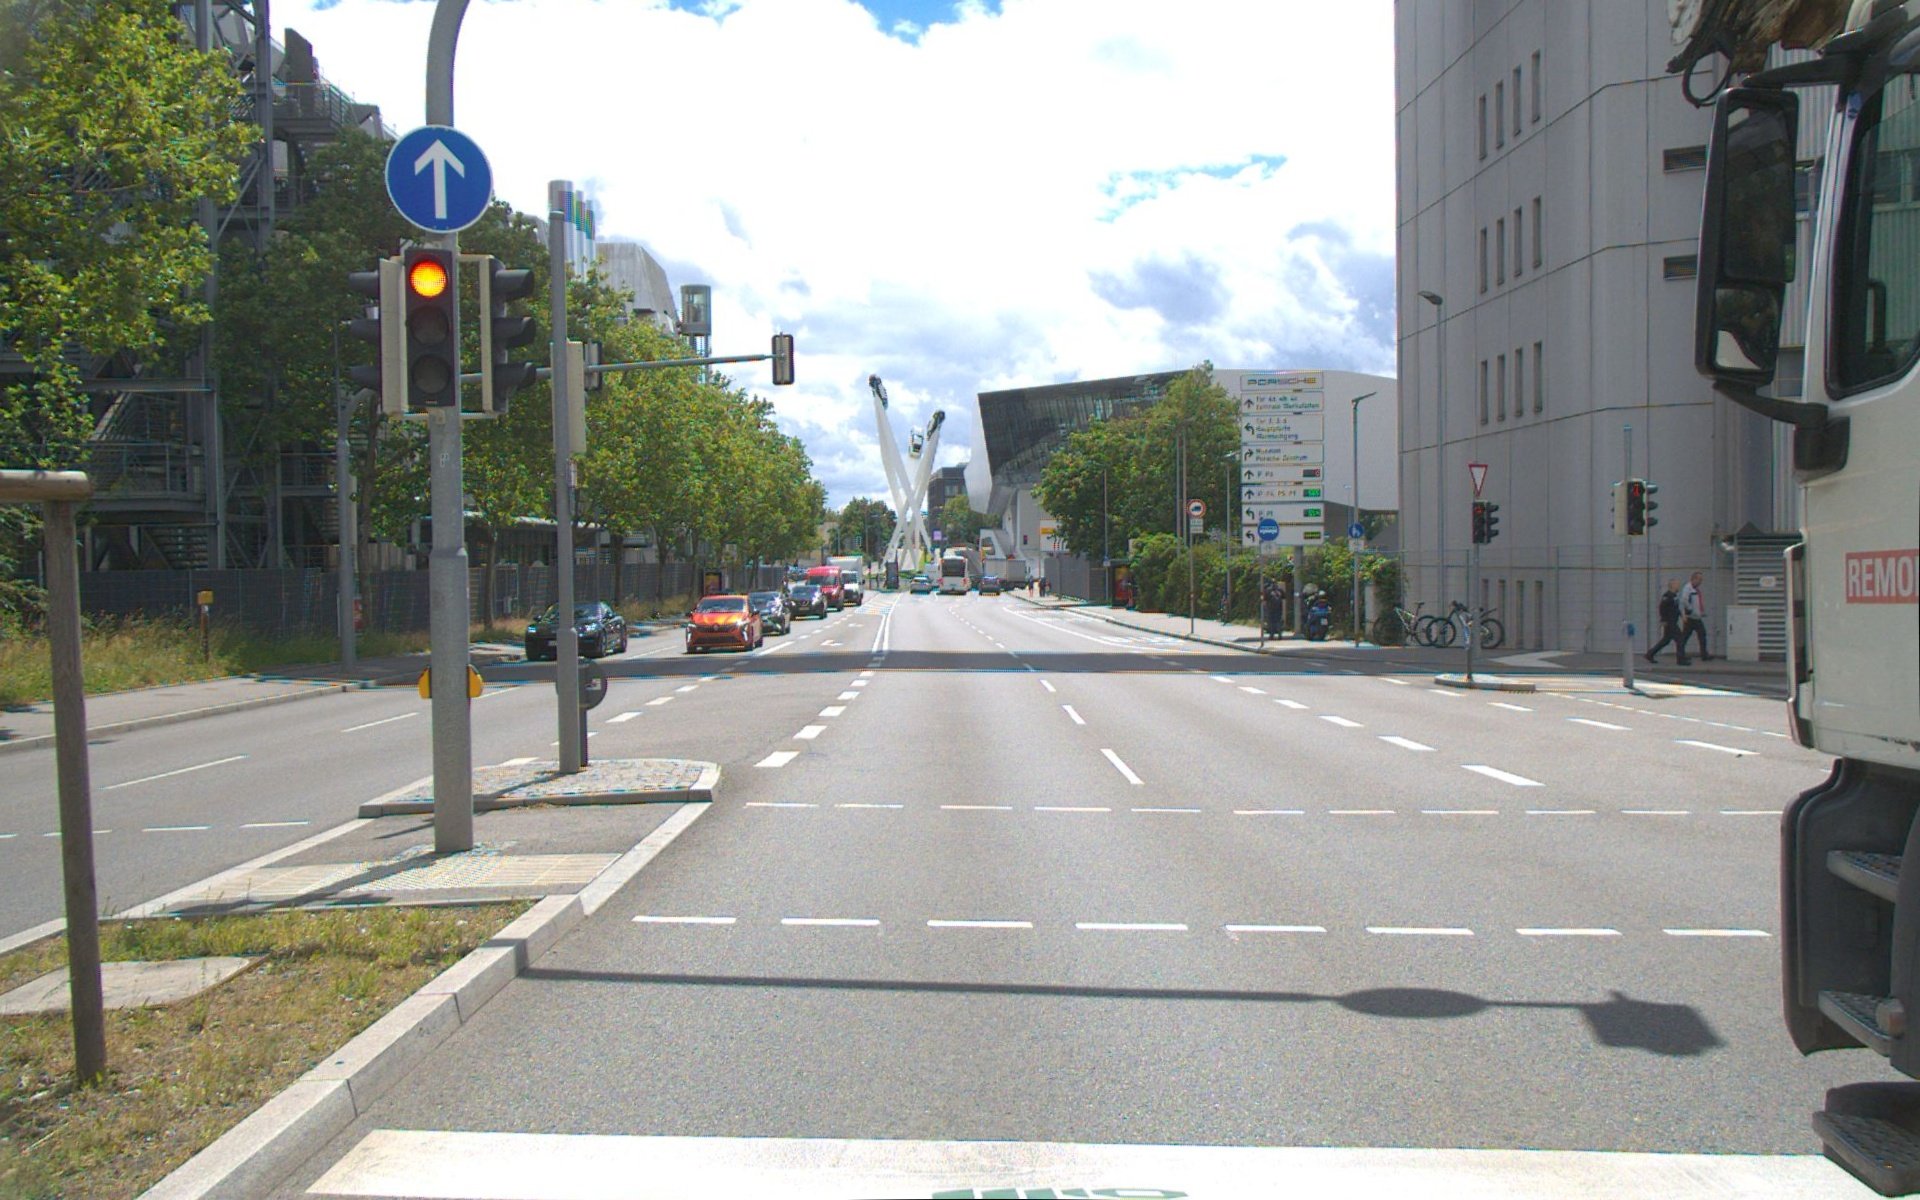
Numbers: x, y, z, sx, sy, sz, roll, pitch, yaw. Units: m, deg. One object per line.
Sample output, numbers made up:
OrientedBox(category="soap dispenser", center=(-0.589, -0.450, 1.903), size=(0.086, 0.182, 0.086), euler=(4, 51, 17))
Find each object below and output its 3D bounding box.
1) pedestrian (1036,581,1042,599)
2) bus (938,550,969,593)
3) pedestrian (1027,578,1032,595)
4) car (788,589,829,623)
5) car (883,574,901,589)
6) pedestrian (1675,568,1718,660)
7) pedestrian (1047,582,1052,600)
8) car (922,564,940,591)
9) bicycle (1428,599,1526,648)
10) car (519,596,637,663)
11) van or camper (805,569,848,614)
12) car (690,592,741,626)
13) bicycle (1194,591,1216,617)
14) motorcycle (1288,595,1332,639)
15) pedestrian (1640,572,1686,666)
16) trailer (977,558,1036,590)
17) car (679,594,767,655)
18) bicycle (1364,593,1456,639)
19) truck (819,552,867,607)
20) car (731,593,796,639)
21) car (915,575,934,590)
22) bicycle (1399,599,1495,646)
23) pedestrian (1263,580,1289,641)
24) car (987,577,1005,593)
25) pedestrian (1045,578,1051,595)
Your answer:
OrientedBox(category="pedestrian", center=(6.327, -0.807, 132.311), size=(0.378, 1.446, 0.423), euler=(1, -1, 0))
OrientedBox(category="bus", center=(-0.553, -2.546, 150.130), size=(2.730, 3.750, 6.942), euler=(1, 0, 0))
OrientedBox(category="pedestrian", center=(5.665, -1.105, 135.544), size=(0.378, 1.446, 0.423), euler=(1, -1, 0))
OrientedBox(category="car", center=(-7.157, 0.267, 78.451), size=(1.525, 1.473, 3.772), euler=(-2, 0, 0))
OrientedBox(category="car", center=(-6.410, -1.727, 155.789), size=(1.525, 1.295, 3.701), euler=(-2, 0, 0))
OrientedBox(category="pedestrian", center=(15.024, 0.284, 33.725), size=(0.696, 1.825, 0.693), euler=(-2, 1, 28))
OrientedBox(category="pedestrian", center=(7.143, -0.732, 132.362), size=(0.378, 1.446, 0.423), euler=(1, -1, 0))
OrientedBox(category="car", center=(-2.973, -2.342, 171.037), size=(1.806, 2.669, 3.999), euler=(1, 0, -1))
OrientedBox(category="bicycle", center=(12.131, 0.536, 38.873), size=(2.149, 1.105, 0.475), euler=(1, -1, 35))
OrientedBox(category="car", center=(-9.802, 0.719, 42.775), size=(1.878, 1.514, 4.772), euler=(-2, 0, 0))
OrientedBox(category="van or camper", center=(-7.577, -0.497, 94.142), size=(2.005, 2.509, 5.594), euler=(0, 0, 0))
OrientedBox(category="car", center=(-10.877, 0.371, 73.765), size=(1.692, 1.406, 3.701), euler=(-2, 0, 0))
OrientedBox(category="bicycle", center=(9.671, 0.159, 65.397), size=(0.410, 1.040, 1.910), euler=(1, 0, -5))
OrientedBox(category="motorcycle", center=(9.546, 0.454, 45.150), size=(0.410, 1.186, 1.951), euler=(1, 0, -11))
OrientedBox(category="pedestrian", center=(14.049, 0.366, 33.056), size=(0.695, 1.825, 0.643), euler=(-2, 1, 16))
OrientedBox(category="trailer", center=(4.897, -2.627, 172.234), size=(3.250, 3.047, 10.380), euler=(1, 0, 18))
OrientedBox(category="car", center=(-6.200, 0.603, 43.687), size=(1.733, 1.445, 3.701), euler=(-2, 0, 0))
OrientedBox(category="bicycle", center=(11.151, 0.389, 41.021), size=(2.180, 1.105, 0.475), euler=(1, -1, 35))
OrientedBox(category="truck", center=(-7.494, -1.275, 106.683), size=(2.538, 3.382, 7.078), euler=(1, 0, 0))
OrientedBox(category="car", center=(-6.695, 0.528, 56.693), size=(1.733, 1.445, 3.701), euler=(-2, 0, 0))
OrientedBox(category="car", center=(-3.199, -1.597, 148.664), size=(1.525, 1.295, 3.701), euler=(-2, 0, 1))
OrientedBox(category="bicycle", center=(11.709, 0.533, 39.805), size=(2.180, 1.105, 0.475), euler=(1, -1, 35))
OrientedBox(category="pedestrian", center=(8.784, 0.292, 46.017), size=(0.523, 1.669, 0.657), euler=(1, -1, -6))
OrientedBox(category="car", center=(3.141, -1.326, 146.232), size=(1.525, 1.295, 3.701), euler=(-2, 0, 1))
OrientedBox(category="pedestrian", center=(7.195, -1.102, 135.278), size=(0.378, 1.446, 0.423), euler=(1, -1, 0))
